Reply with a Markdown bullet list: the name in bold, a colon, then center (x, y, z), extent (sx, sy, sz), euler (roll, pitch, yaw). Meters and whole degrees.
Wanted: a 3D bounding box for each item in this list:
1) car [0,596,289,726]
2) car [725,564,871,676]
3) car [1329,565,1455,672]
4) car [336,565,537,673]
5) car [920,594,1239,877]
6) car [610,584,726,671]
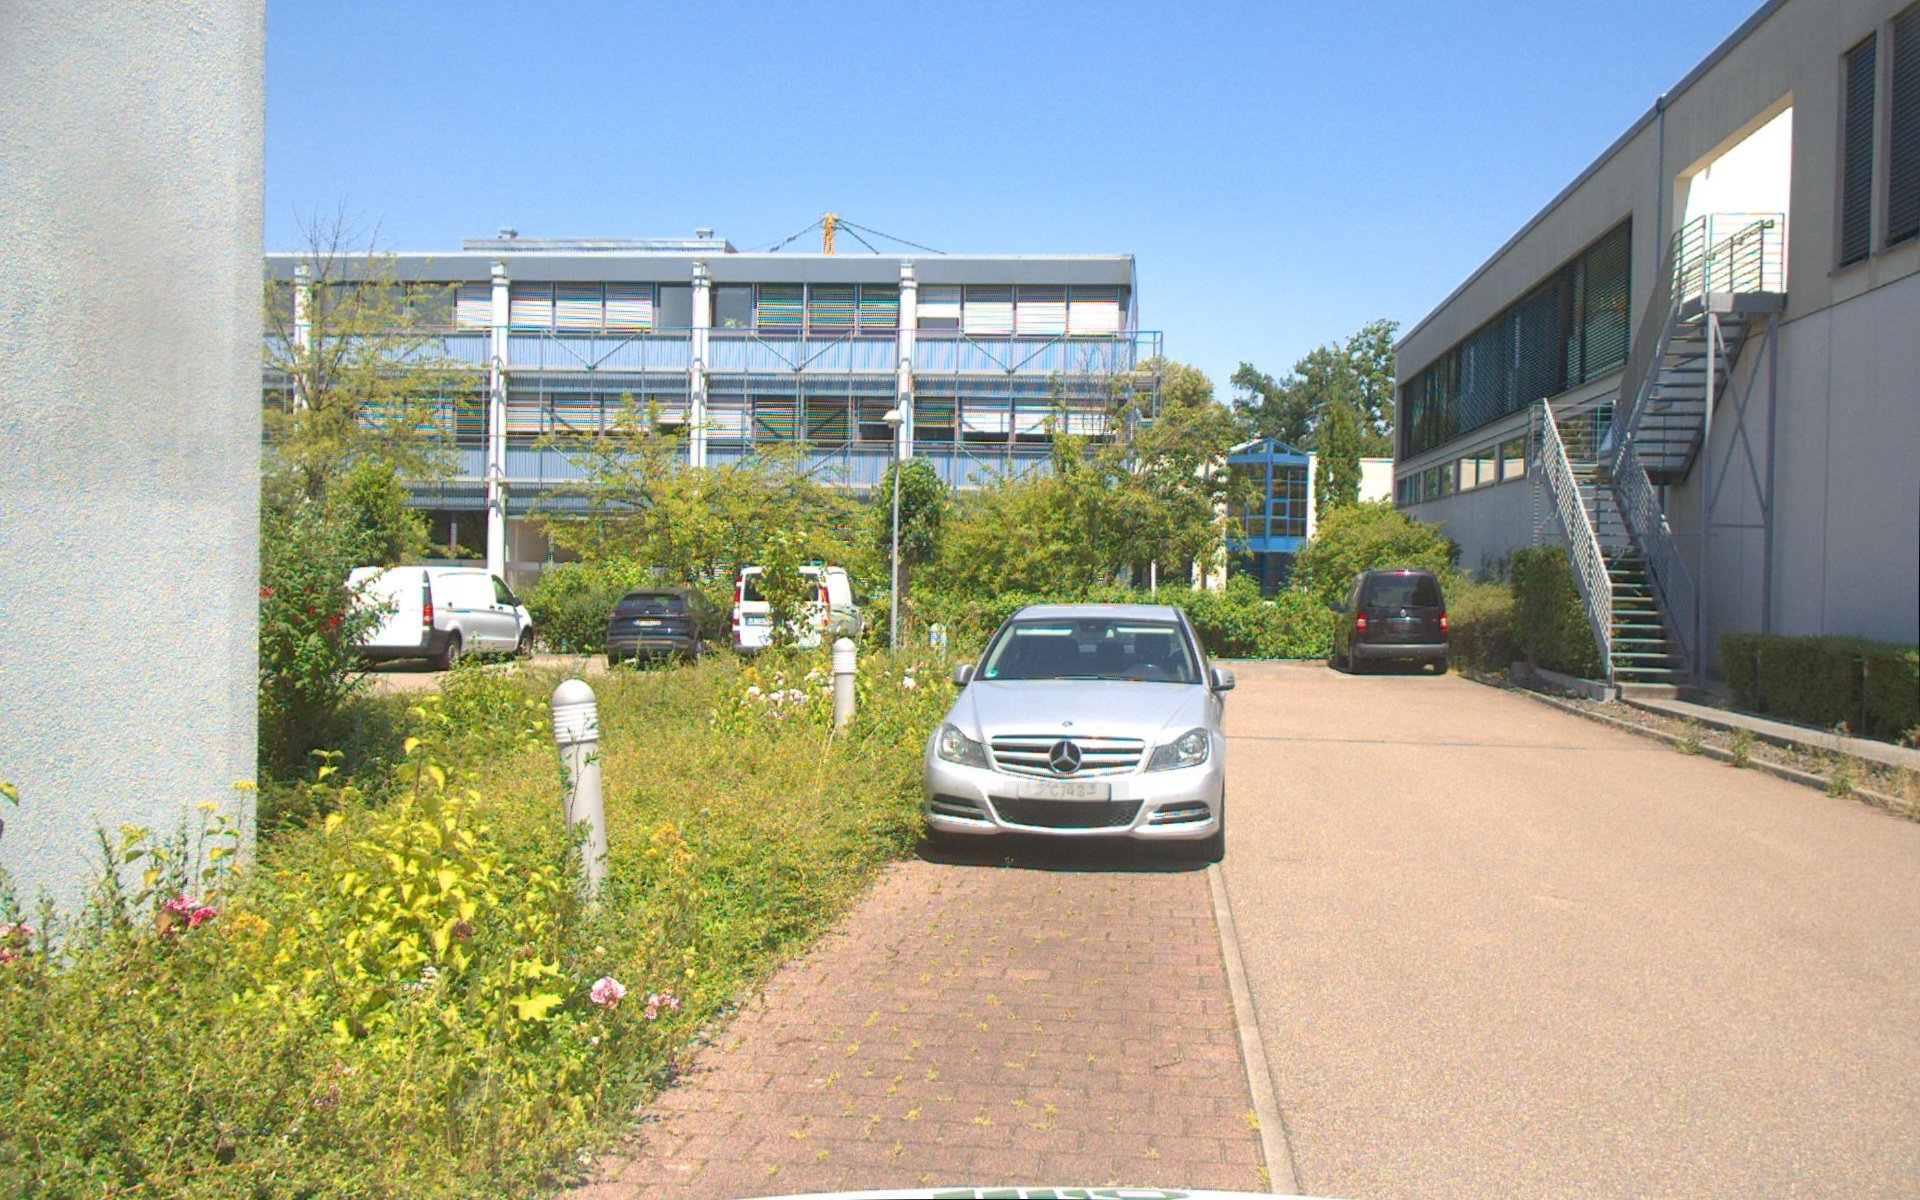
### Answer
- **car**: center (-10.971, 0.724, 22.114), extent (1.818, 1.498, 4.487), euler (0, 1, 6)
- **car**: center (-2.951, 0.292, 31.226), extent (1.872, 1.938, 4.811), euler (0, 1, 5)
- **car**: center (8.002, 0.301, 30.943), extent (1.706, 1.869, 4.003), euler (0, 1, 6)
- **car**: center (-10.039, 0.282, 32.134), extent (1.841, 1.924, 4.808), euler (0, 1, 8)
- **car**: center (0.947, 0.711, 10.829), extent (1.692, 1.482, 4.151), euler (0, 0, 9)
- **car**: center (-5.583, 0.478, 32.061), extent (1.719, 1.502, 3.998), euler (0, 1, -3)
